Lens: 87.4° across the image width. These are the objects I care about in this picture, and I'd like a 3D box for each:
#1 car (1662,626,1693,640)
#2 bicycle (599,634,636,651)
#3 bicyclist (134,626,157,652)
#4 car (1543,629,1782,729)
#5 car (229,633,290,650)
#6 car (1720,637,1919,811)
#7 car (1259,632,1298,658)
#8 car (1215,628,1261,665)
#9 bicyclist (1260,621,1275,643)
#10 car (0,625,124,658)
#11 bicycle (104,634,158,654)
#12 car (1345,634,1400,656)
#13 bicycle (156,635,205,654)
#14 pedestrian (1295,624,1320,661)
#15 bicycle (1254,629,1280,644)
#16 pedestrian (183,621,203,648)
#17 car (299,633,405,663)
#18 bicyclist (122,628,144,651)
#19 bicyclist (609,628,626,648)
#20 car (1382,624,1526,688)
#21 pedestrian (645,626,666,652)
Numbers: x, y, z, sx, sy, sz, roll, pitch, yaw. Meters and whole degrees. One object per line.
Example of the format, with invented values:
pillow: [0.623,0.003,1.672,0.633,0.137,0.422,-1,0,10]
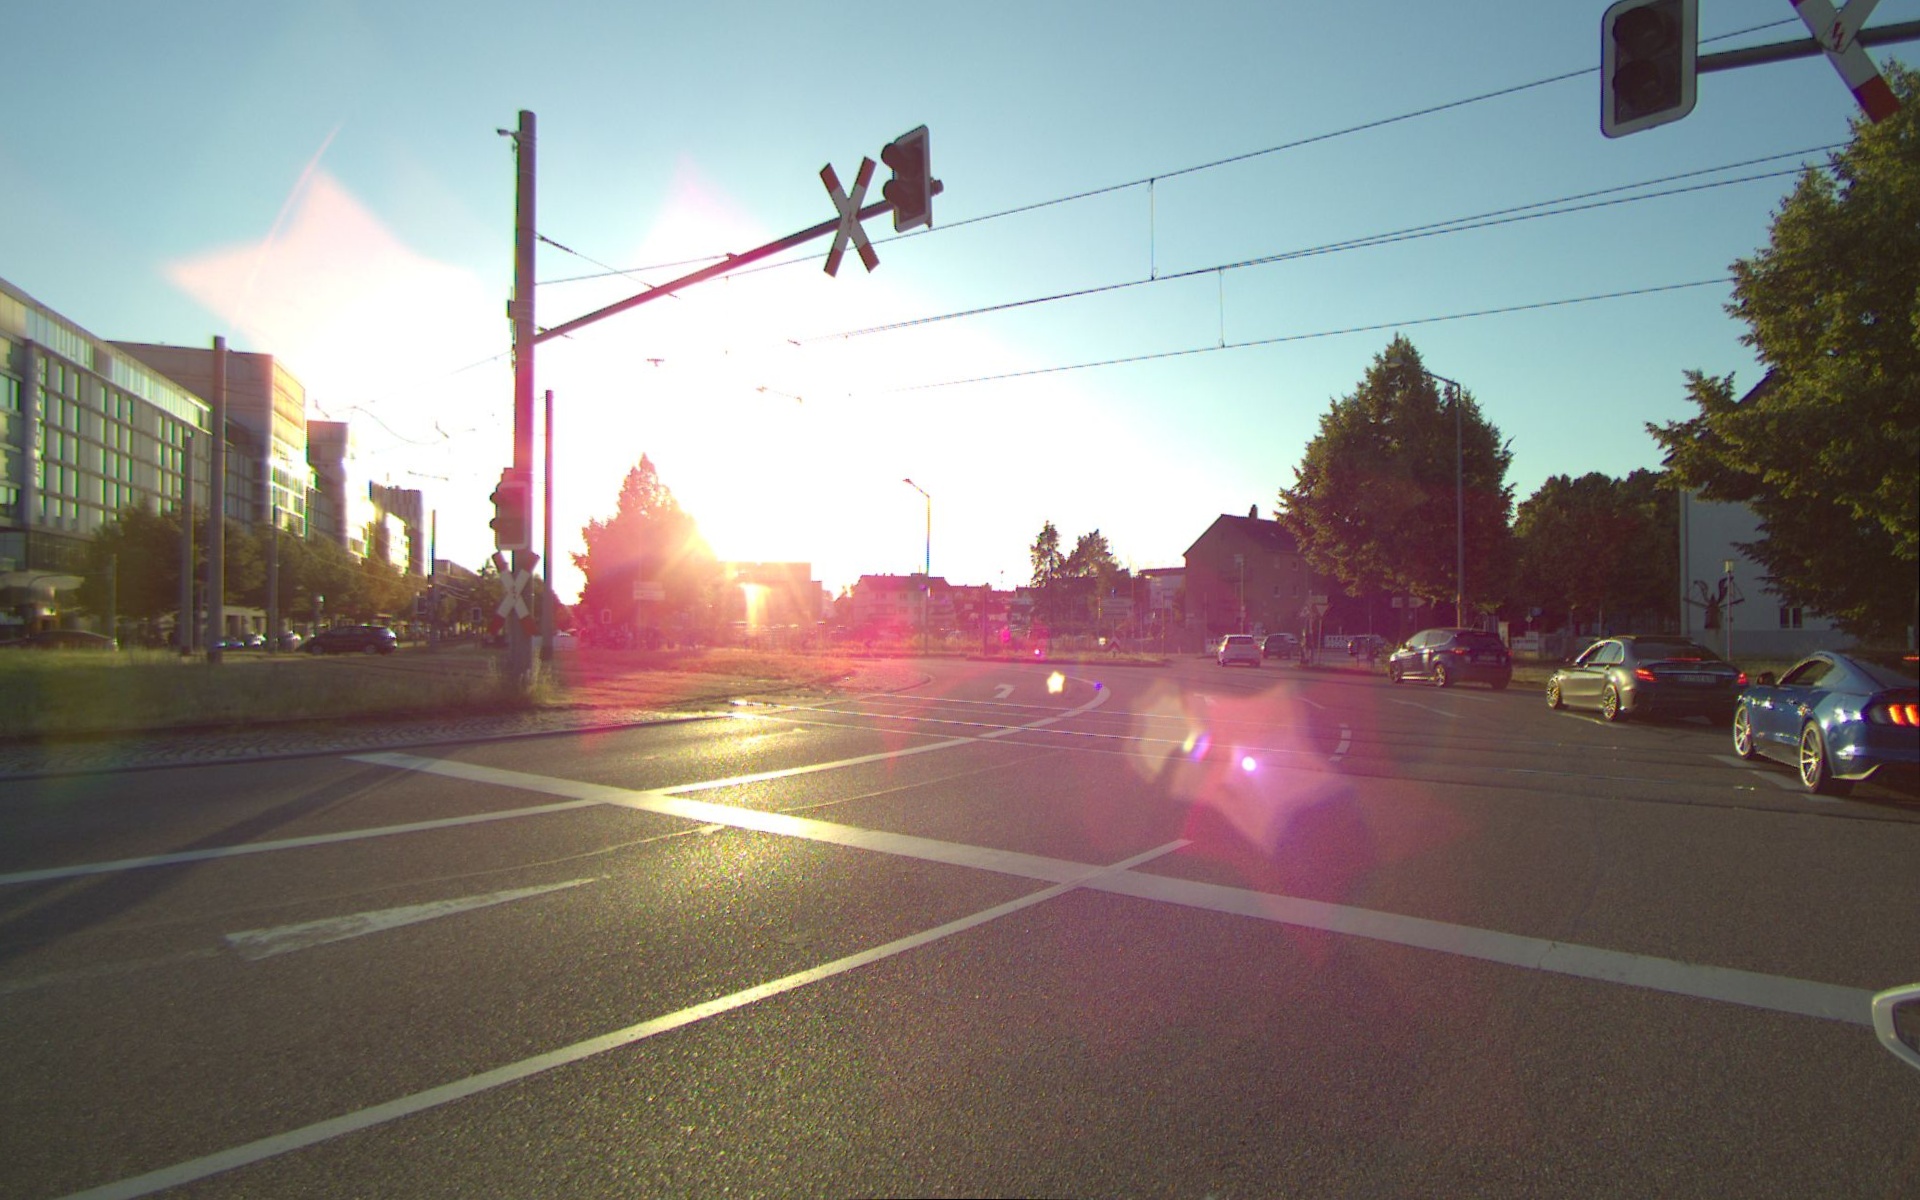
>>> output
car: [78.072,3.591,109.246,3.885,1.420,1.860,1,-1,-41]
bicycle: [-24.190,2.979,70.931,2.363,1.182,0.754,0,-2,-3]
bicyclist: [-49.339,2.349,60.833,0.968,1.545,0.748,1,-2,-34]
car: [12.001,1.266,17.568,1.918,1.446,4.432,1,-1,13]
car: [-65.408,3.865,93.879,4.267,1.594,1.937,1,-1,-18]
car: [9.345,1.107,10.116,1.922,1.360,4.665,0,-1,27]
car: [18.951,2.642,59.698,1.846,1.420,3.915,-1,-2,23]
car: [12.806,2.179,46.056,1.844,1.419,3.919,3,-4,18]
bicyclist: [23.685,2.472,77.344,0.969,1.634,0.746,1,-2,-39]
car: [-42.034,1.885,46.767,4.546,1.451,1.927,0,-1,-33]
bicycle: [-50.201,2.662,60.854,2.381,1.182,0.748,1,-2,-31]
car: [27.819,3.018,67.698,3.883,1.420,1.861,1,-1,-39]
bicycle: [-49.190,2.807,63.440,2.384,1.182,0.748,1,-2,-34]
pedestrian: [16.314,1.995,47.157,0.875,1.708,0.841,-1,-2,44]
bicycle: [23.671,2.822,77.356,2.389,1.182,0.746,2,-2,-39]
pedestrian: [-49.666,2.259,65.063,0.877,1.730,0.789,1,-2,-27]
car: [-31.245,2.467,51.730,4.237,1.451,1.944,0,-1,-3]
bicyclist: [-50.148,2.399,60.906,0.869,1.411,0.748,1,-2,-31]
bicyclist: [-24.174,2.678,70.920,0.960,1.412,0.754,0,-1,-3]
car: [13.659,1.514,28.053,1.919,1.623,4.077,1,-2,-2]
pedestrian: [-21.504,2.738,70.902,1.139,1.851,0.980,0,-1,1]
